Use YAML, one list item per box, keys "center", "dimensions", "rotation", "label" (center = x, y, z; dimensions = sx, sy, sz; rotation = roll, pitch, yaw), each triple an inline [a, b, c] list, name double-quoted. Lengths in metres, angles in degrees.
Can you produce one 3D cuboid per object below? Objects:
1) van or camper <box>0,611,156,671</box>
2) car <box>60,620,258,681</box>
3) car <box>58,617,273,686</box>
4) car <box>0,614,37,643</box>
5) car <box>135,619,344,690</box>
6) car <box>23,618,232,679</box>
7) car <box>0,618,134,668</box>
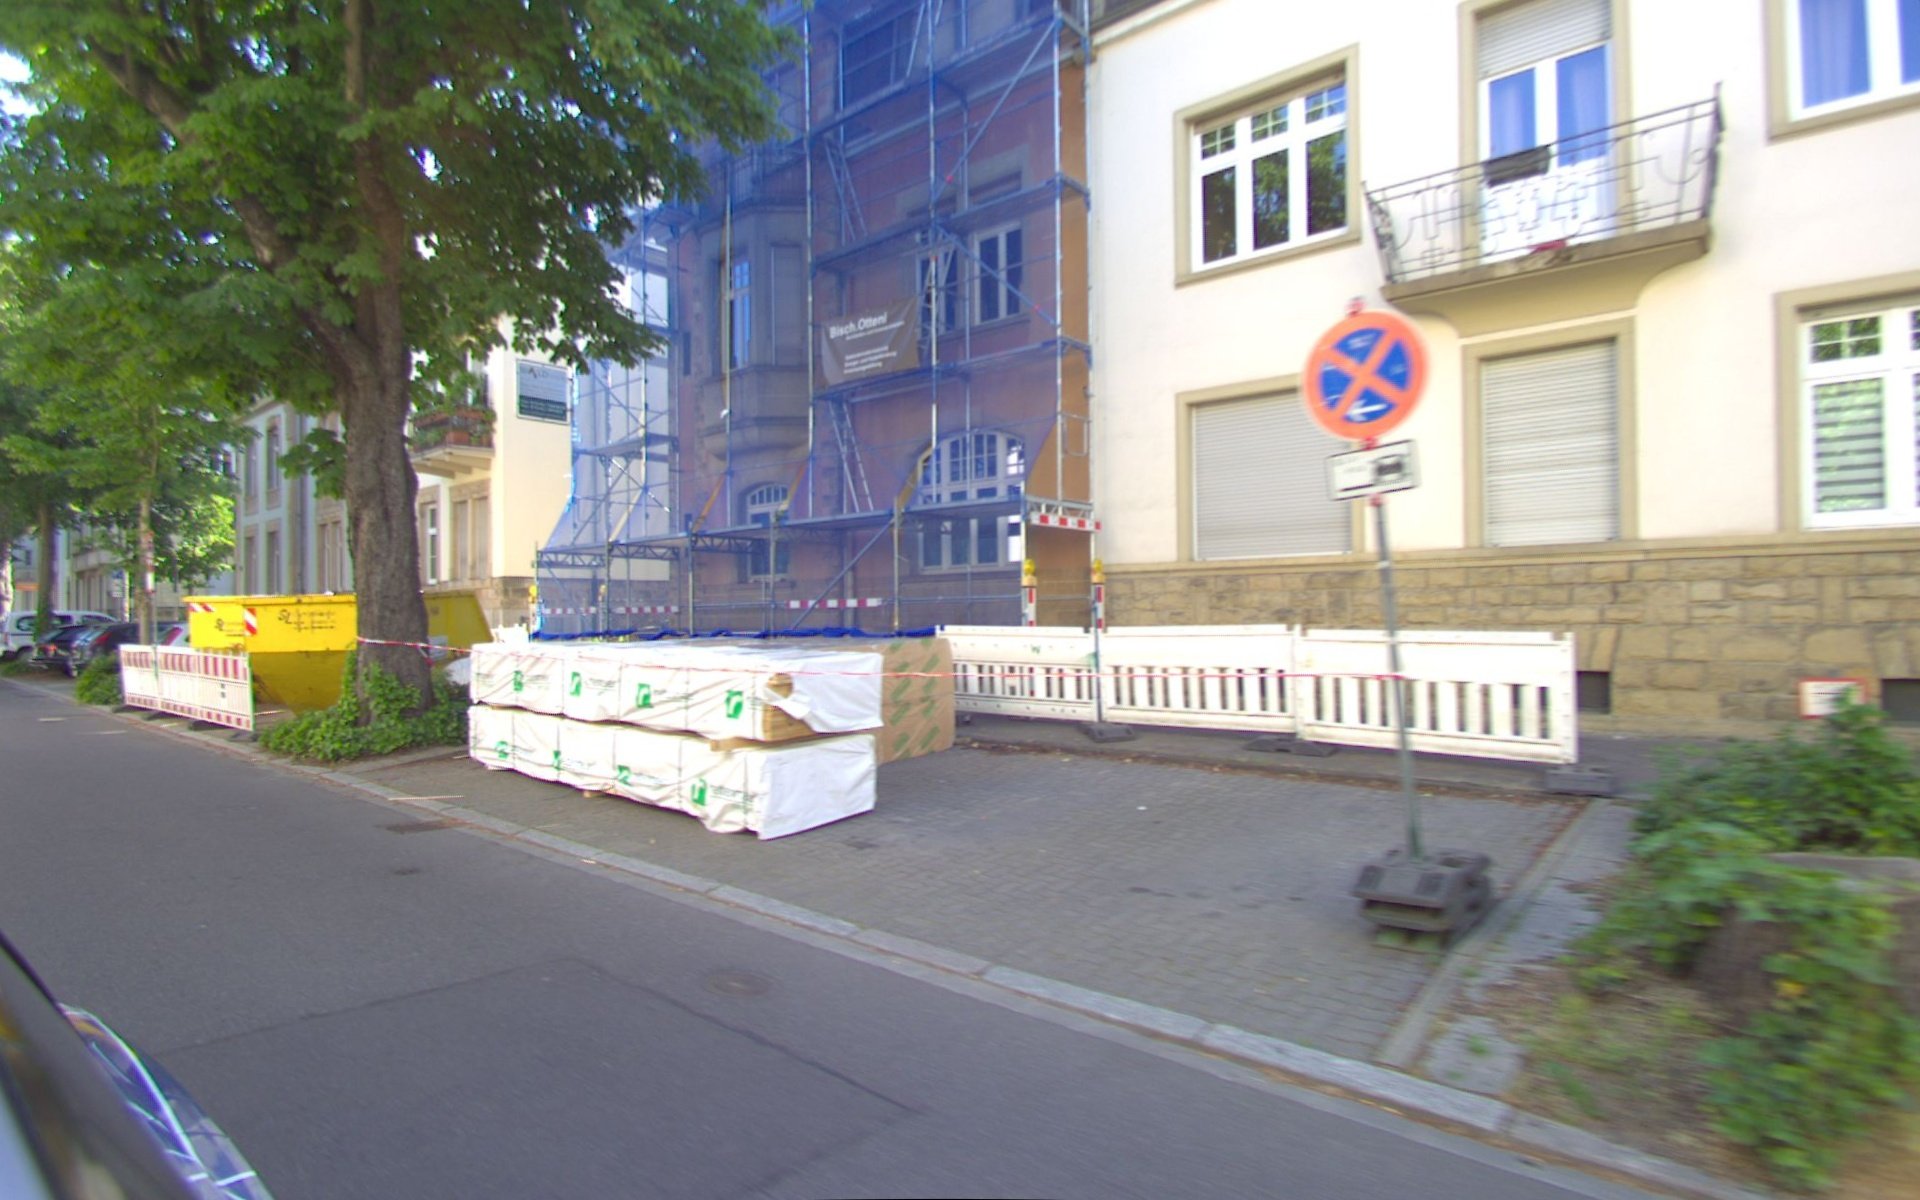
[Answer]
- center: [-28.687, 1.286, 32.751]
  dimensions: [1.808, 1.787, 3.904]
  rotation: [-3, -2, 40]
  label: "van or camper"
- center: [-20.273, 1.236, 25.721]
  dimensions: [1.645, 1.442, 3.708]
  rotation: [-1, -2, 41]
  label: "car"
- center: [-18.451, 1.176, 23.610]
  dimensions: [1.714, 1.476, 3.686]
  rotation: [-3, -3, 41]
  label: "car"
- center: [-50.876, 1.545, 52.803]
  dimensions: [3.939, 1.443, 1.806]
  rotation: [-2, 2, -42]
  label: "car"
- center: [-16.062, 1.165, 22.663]
  dimensions: [1.695, 1.459, 3.512]
  rotation: [-1, -2, 41]
  label: "car"
- center: [-22.155, 1.249, 27.065]
  dimensions: [1.709, 1.411, 4.097]
  rotation: [-2, -1, 40]
  label: "car"
- center: [-30.272, 1.426, 33.961]
  dimensions: [1.720, 1.528, 3.687]
  rotation: [-2, -1, 39]
  label: "car"
